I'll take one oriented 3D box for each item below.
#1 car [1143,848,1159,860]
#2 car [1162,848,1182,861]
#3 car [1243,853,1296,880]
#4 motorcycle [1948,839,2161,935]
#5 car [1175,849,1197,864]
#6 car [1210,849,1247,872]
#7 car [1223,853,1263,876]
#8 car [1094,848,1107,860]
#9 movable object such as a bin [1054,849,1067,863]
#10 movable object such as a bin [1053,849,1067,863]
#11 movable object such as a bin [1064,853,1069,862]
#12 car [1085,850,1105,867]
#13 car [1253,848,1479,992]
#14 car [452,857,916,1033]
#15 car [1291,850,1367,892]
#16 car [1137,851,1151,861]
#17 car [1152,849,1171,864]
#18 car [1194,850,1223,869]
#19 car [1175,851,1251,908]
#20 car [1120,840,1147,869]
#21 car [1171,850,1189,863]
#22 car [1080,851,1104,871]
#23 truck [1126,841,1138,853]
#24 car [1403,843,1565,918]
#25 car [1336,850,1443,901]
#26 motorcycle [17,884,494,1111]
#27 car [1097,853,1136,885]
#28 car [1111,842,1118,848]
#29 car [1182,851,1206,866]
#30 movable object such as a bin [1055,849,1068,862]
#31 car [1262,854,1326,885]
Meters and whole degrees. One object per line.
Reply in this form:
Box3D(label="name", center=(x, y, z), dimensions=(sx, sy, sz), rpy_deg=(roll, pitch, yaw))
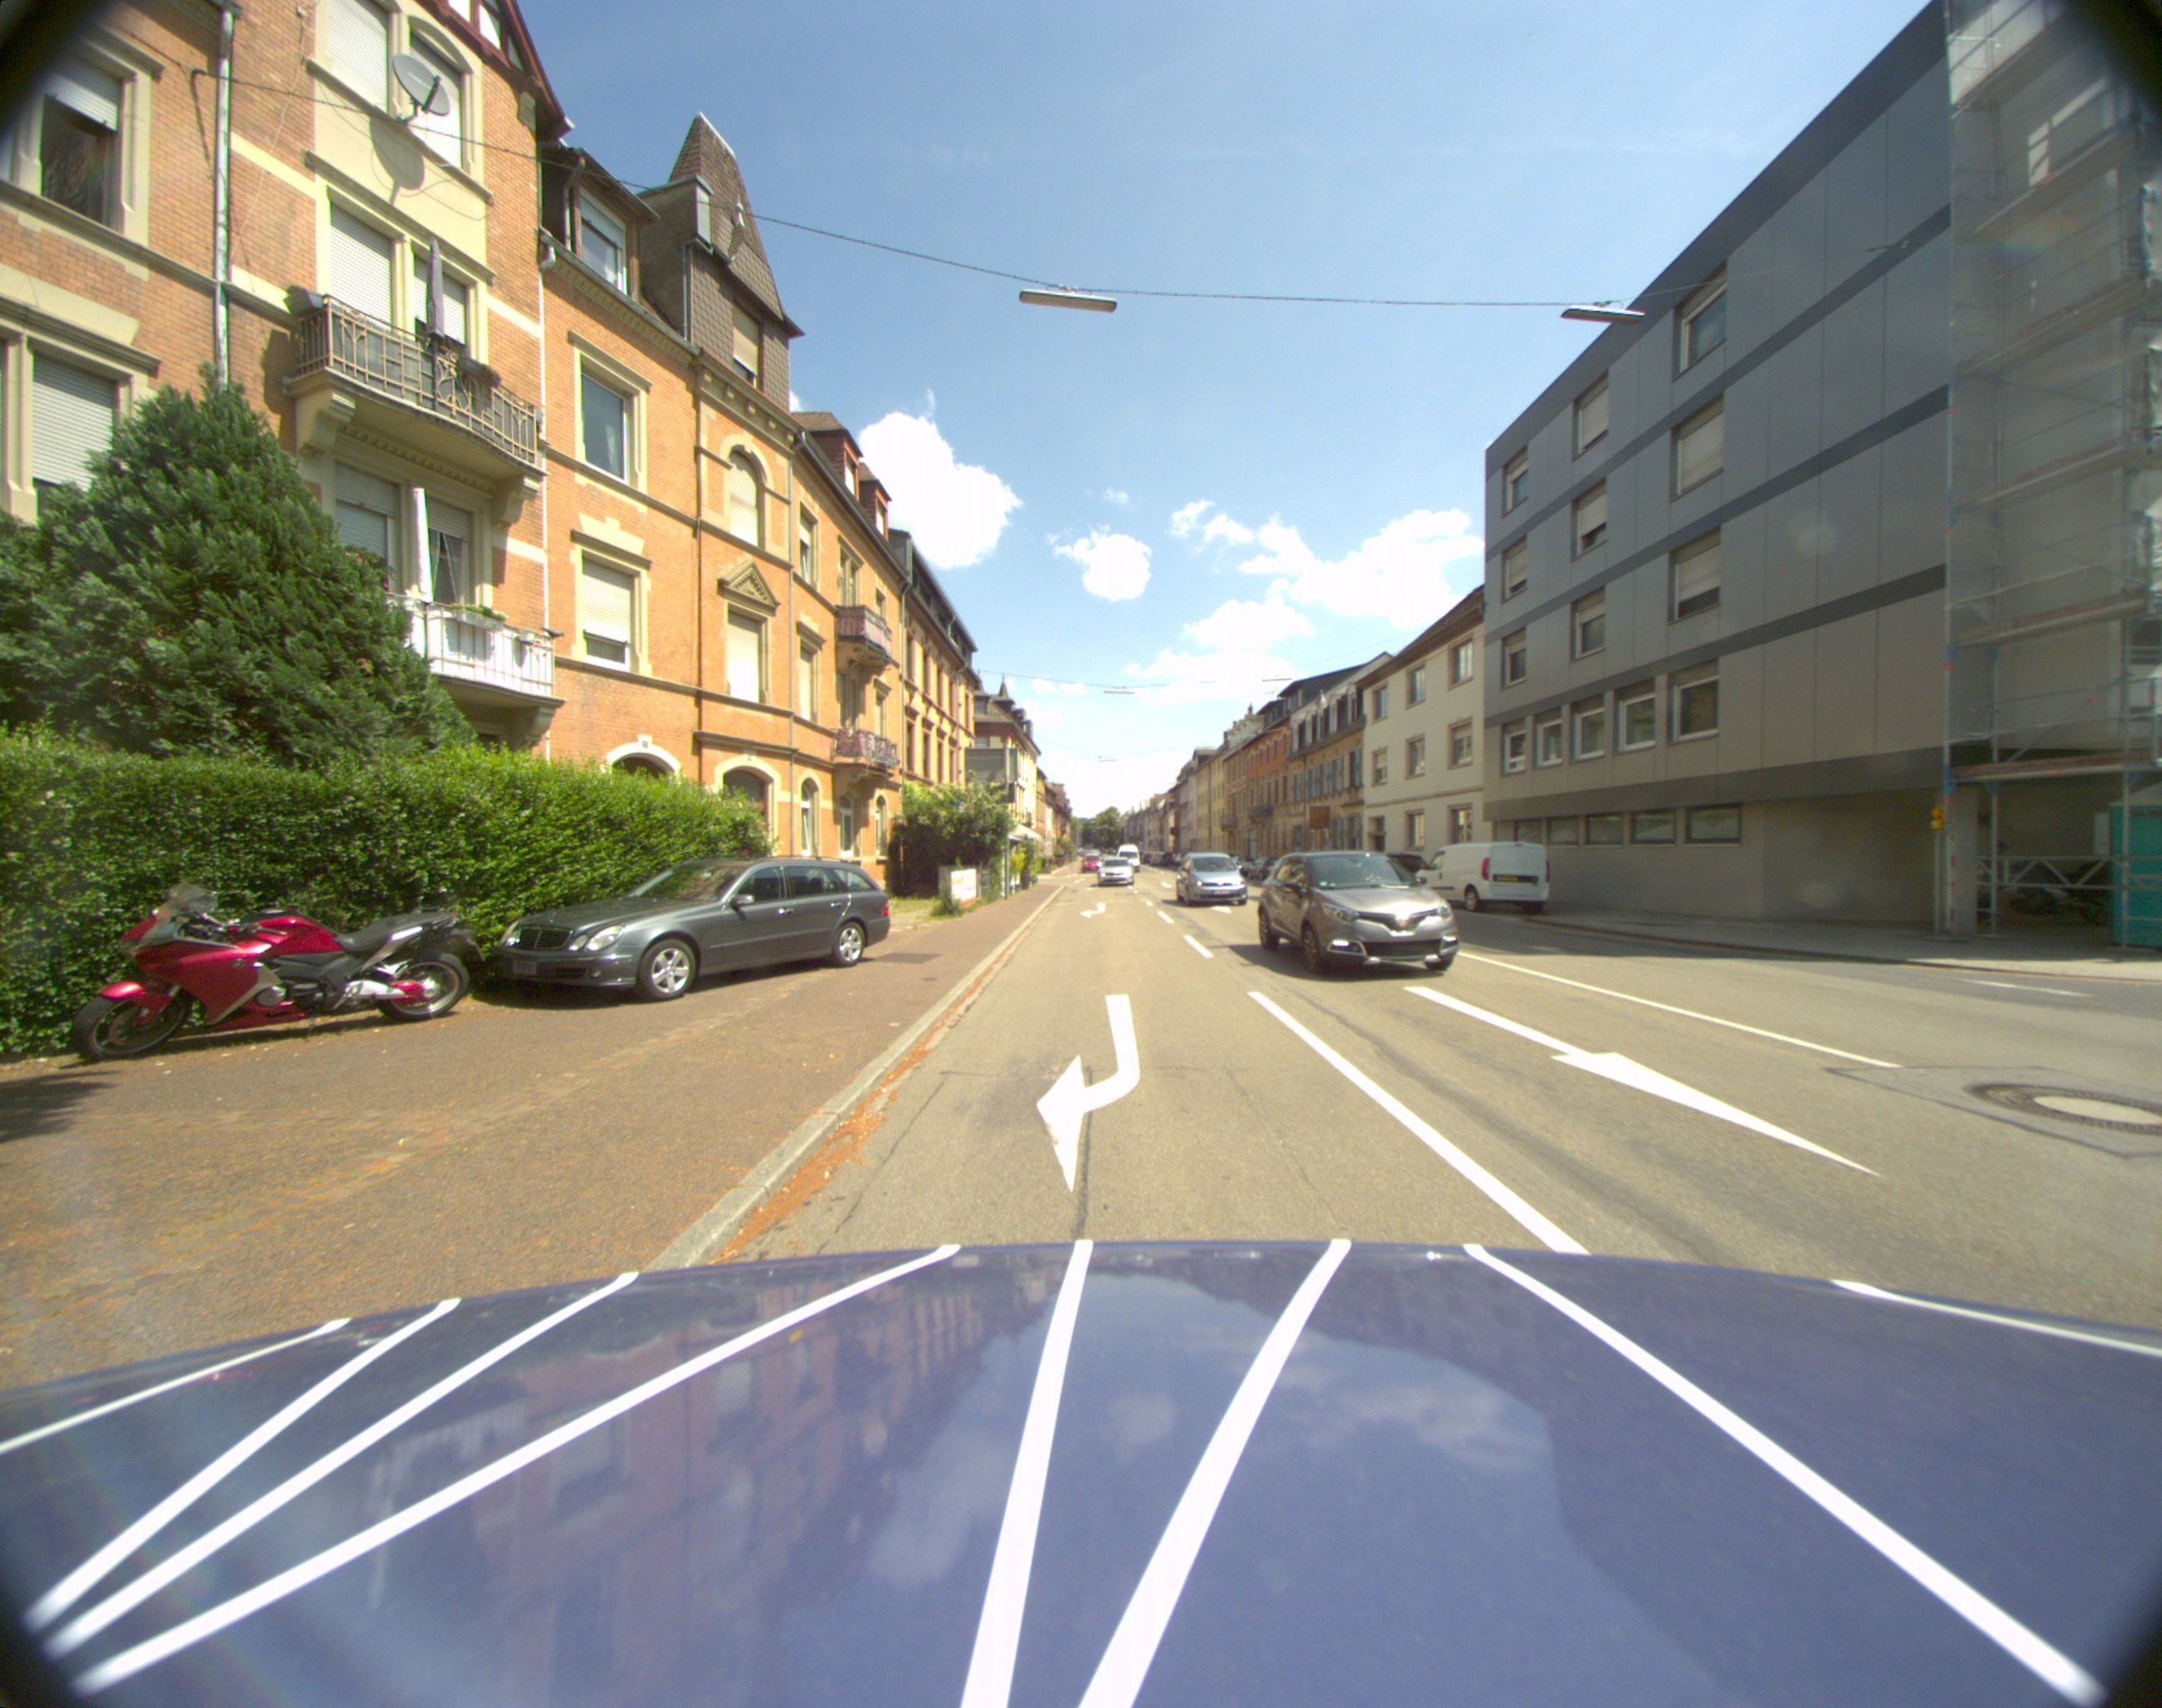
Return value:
Box3D(label="car", center=(8.574, 0.008, 93.327), dimensions=(1.705, 1.469, 4.133), rpy_deg=(0, 0, 1))
Box3D(label="car", center=(11.786, 0.088, 98.144), dimensions=(1.746, 1.579, 3.958), rpy_deg=(4, 1, 17))
Box3D(label="car", center=(11.313, 0.741, 45.923), dimensions=(1.870, 1.398, 4.329), rpy_deg=(3, 1, -2))
Box3D(label="motorcycle", center=(15.950, 0.511, 12.546), dimensions=(2.037, 1.463, 0.884), rpy_deg=(-1, 1, 39))
Box3D(label="car", center=(11.948, 0.303, 86.787), dimensions=(1.869, 1.543, 4.313), rpy_deg=(3, 1, 1))
Box3D(label="car", center=(11.520, 0.499, 59.638), dimensions=(1.869, 1.618, 4.499), rpy_deg=(3, 1, 0))
Box3D(label="car", center=(11.517, 0.713, 54.339), dimensions=(1.869, 1.418, 4.330), rpy_deg=(3, 1, 1))
Box3D(label="car", center=(2.616, 0.009, 103.487), dimensions=(1.708, 1.470, 3.930), rpy_deg=(-2, 1, 1))
Box3D(label="movable object such as a bin", center=(-2.120, 0.178, 78.530), dimensions=(1.285, 1.388, 1.364), rpy_deg=(0, 1, 2))
Box3D(label="movable object such as a bin", center=(-2.139, 0.219, 77.114), dimensions=(1.285, 1.388, 1.413), rpy_deg=(0, 1, 2))
Box3D(label="movable object such as a bin", center=(-1.580, 0.391, 82.778), dimensions=(0.626, 0.923, 0.612), rpy_deg=(0, 1, 0))
Box3D(label="car", center=(1.411, 0.381, 74.763), dimensions=(1.761, 1.542, 4.066), rpy_deg=(-2, 1, 2))
Box3D(label="car", center=(3.711, 0.749, 10.692), dimensions=(1.758, 1.622, 4.000), rpy_deg=(-1, 0, 2))
Box3D(label="car", center=(-4.303, 0.842, 9.451), dimensions=(1.836, 1.539, 5.165), rpy_deg=(1, -1, 21))
Box3D(label="car", center=(10.865, 0.688, 33.645), dimensions=(1.889, 1.631, 4.817), rpy_deg=(1, 1, 2))
Box3D(label="car", center=(9.482, 0.292, 114.569), dimensions=(1.764, 1.486, 4.245), rpy_deg=(0, 0, 0))
Box3D(label="car", center=(8.600, 0.208, 81.733), dimensions=(1.705, 1.565, 4.312), rpy_deg=(0, 0, 1))
Box3D(label="car", center=(11.885, 0.493, 71.266), dimensions=(1.869, 1.543, 4.499), rpy_deg=(3, 1, 0))
Box3D(label="car", center=(3.994, 0.723, 23.593), dimensions=(1.758, 1.559, 4.000), rpy_deg=(-1, 0, 1))
Box3D(label="car", center=(4.287, 0.026, 63.194), dimensions=(1.905, 2.261, 5.671), rpy_deg=(-1, 1, 0))
Box3D(label="car", center=(11.956, 0.285, 91.650), dimensions=(1.749, 1.403, 3.915), rpy_deg=(3, 1, 2))
Box3D(label="car", center=(0.896, 0.561, 63.992), dimensions=(1.762, 1.470, 3.782), rpy_deg=(-2, 1, -2))
Box3D(label="truck", center=(11.476, -1.567, 171.501), dimensions=(2.323, 2.725, 8.067), rpy_deg=(0, 1, 0))
Box3D(label="car", center=(10.986, 0.635, 21.193), dimensions=(1.918, 1.815, 4.787), rpy_deg=(1, 1, 0))
Box3D(label="car", center=(10.887, 0.685, 27.203), dimensions=(1.889, 1.631, 4.662), rpy_deg=(1, 1, 0))
Box3D(label="motorcycle", center=(-6.044, 0.916, 5.817), dimensions=(0.931, 1.295, 2.285), rpy_deg=(1, 0, 23))
Box3D(label="car", center=(1.782, 0.736, 39.121), dimensions=(1.904, 1.489, 4.487), rpy_deg=(0, 1, 2))
Box3D(label="car", center=(9.015, -2.436, 202.044), dimensions=(1.708, 1.470, 3.930), rpy_deg=(-2, 1, 1))
Box3D(label="car", center=(11.886, 0.437, 80.165), dimensions=(1.909, 1.443, 4.686), rpy_deg=(3, 1, 1))
Box3D(label="movable object such as a bin", center=(-2.055, 0.137, 79.898), dimensions=(1.285, 1.402, 1.305), rpy_deg=(0, 1, 2))
Box3D(label="car", center=(11.255, 0.781, 40.529), dimensions=(1.870, 1.398, 4.836), rpy_deg=(3, 1, -2))
